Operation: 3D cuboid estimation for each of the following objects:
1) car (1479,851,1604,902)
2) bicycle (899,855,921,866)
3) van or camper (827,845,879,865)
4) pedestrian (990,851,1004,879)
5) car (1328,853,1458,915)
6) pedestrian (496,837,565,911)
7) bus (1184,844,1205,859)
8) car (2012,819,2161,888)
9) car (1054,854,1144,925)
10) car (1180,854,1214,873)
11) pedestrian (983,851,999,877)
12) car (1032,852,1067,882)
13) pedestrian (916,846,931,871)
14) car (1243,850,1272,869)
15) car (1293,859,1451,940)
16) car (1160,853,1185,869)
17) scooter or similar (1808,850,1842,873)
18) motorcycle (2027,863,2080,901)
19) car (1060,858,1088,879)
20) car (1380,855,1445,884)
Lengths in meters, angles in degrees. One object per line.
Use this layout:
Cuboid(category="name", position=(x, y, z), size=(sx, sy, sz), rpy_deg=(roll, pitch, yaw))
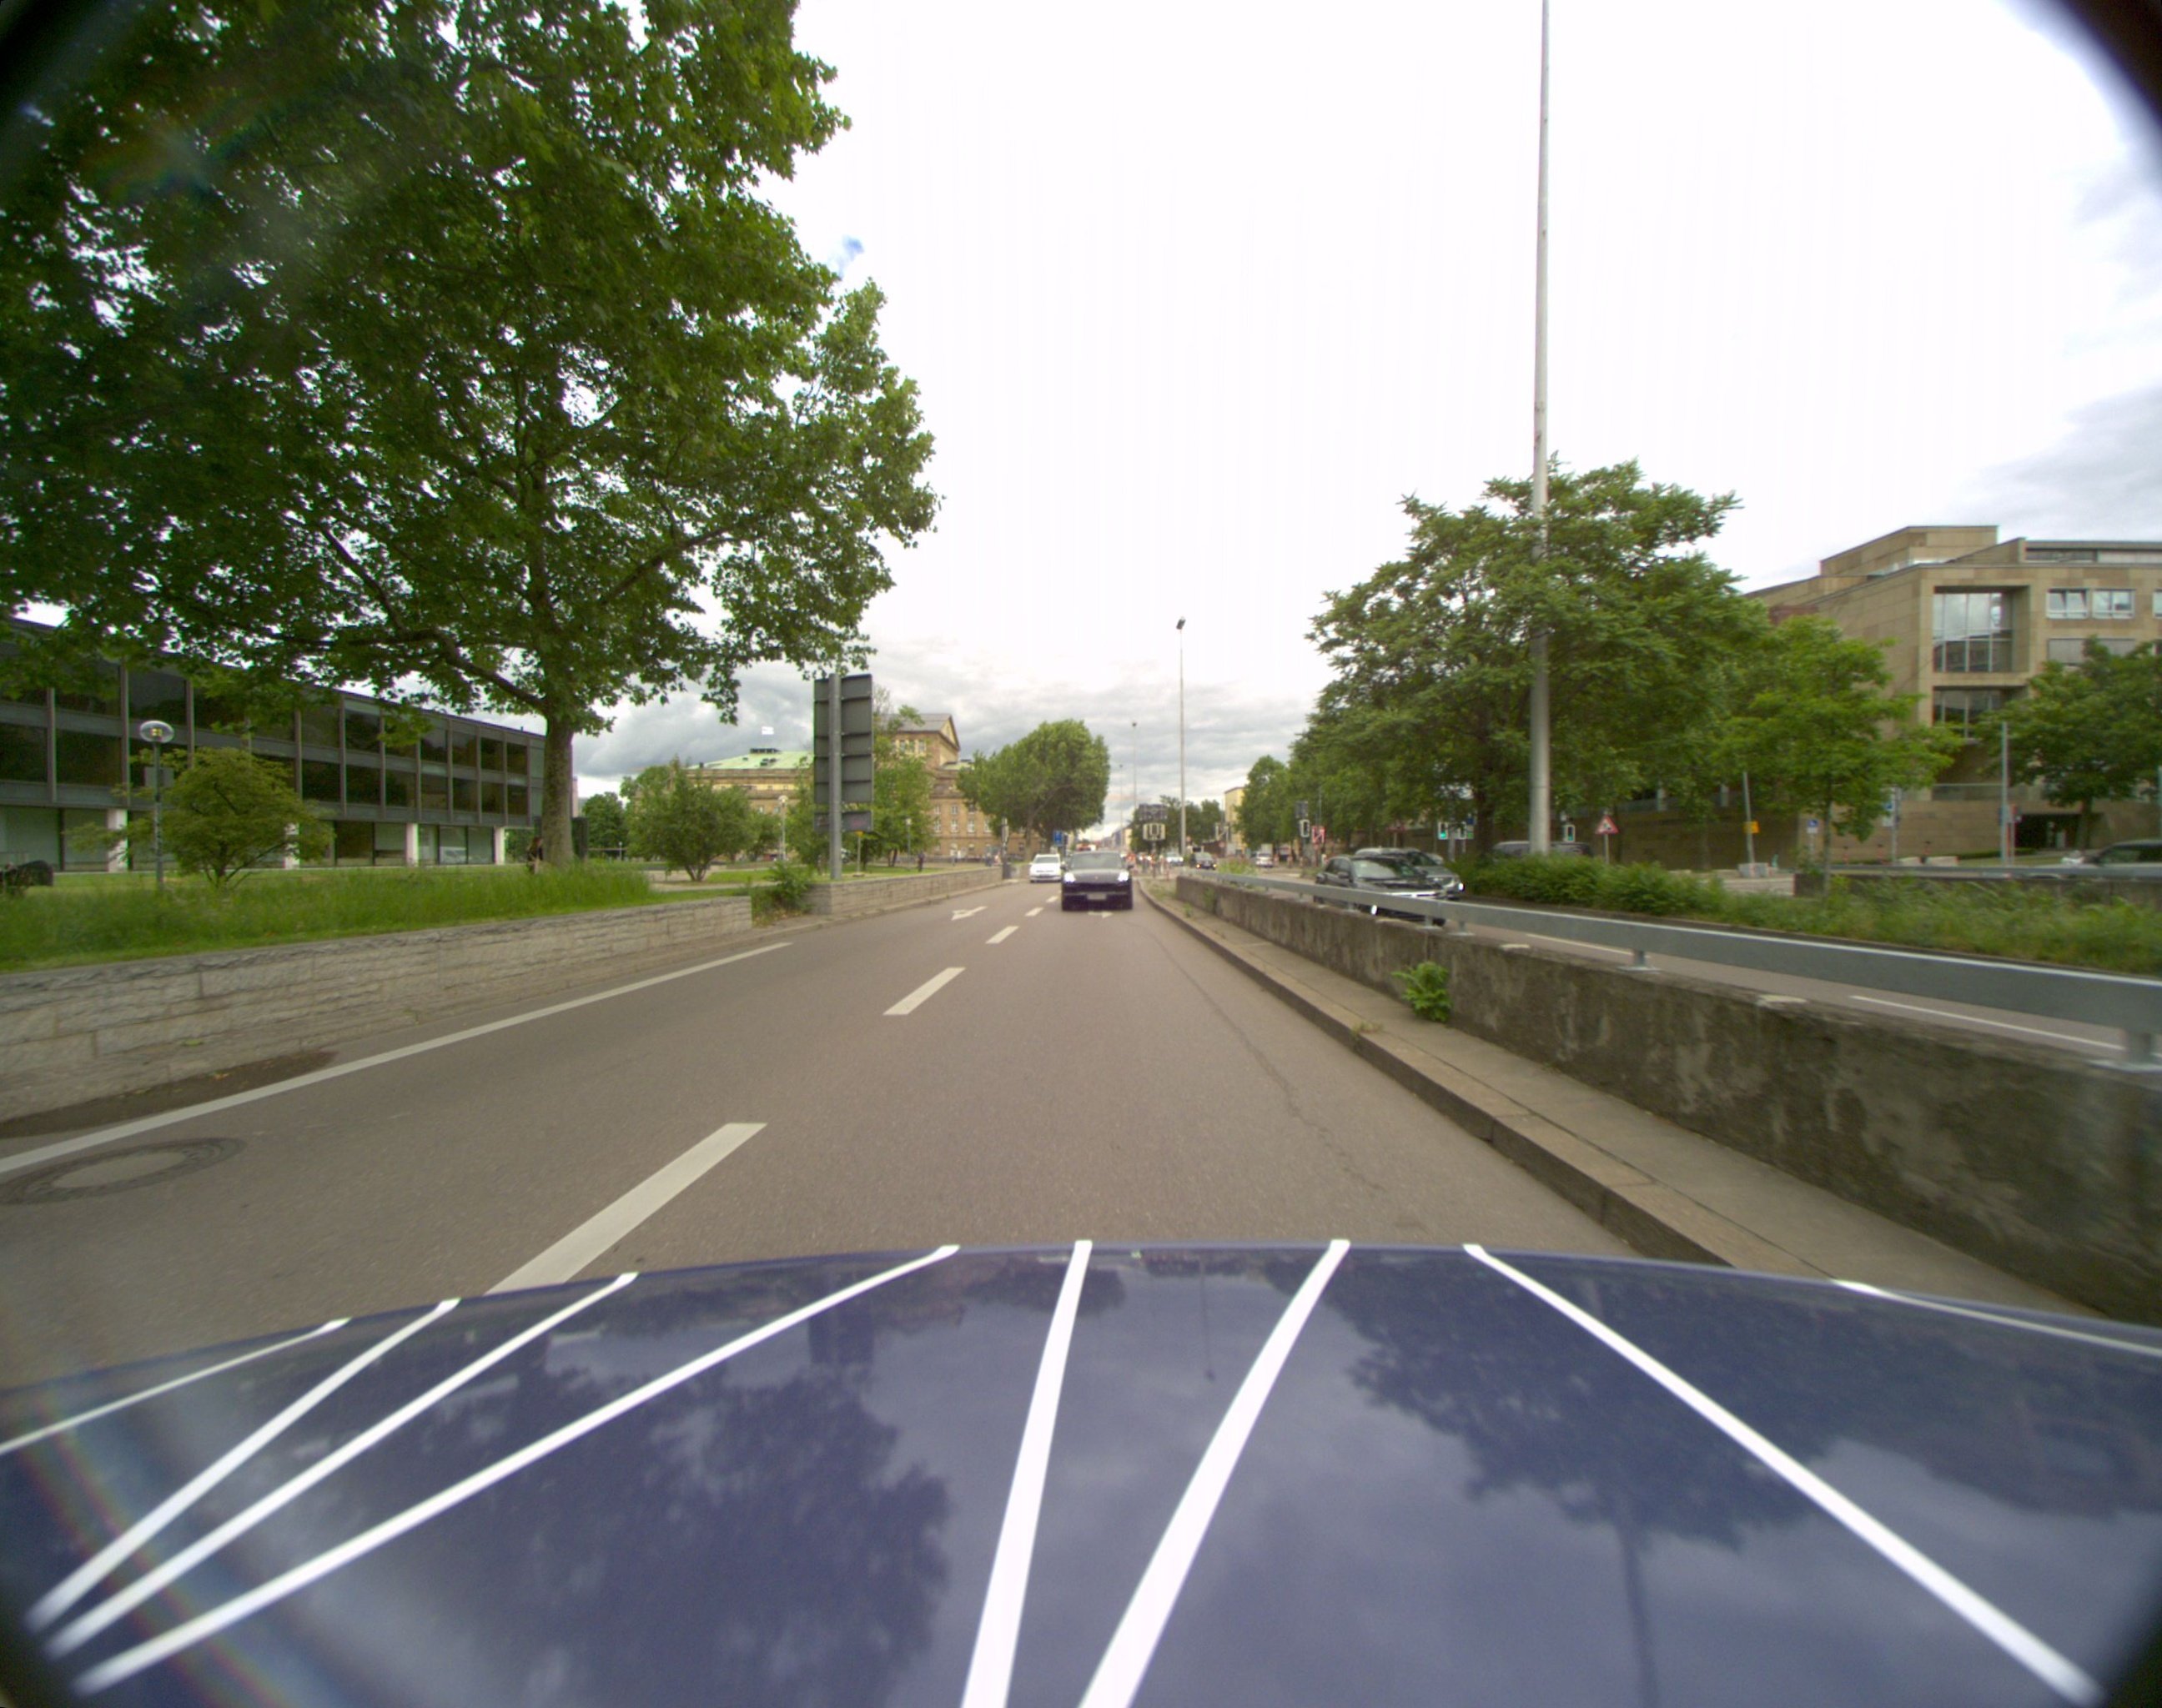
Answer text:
Cuboid(category="car", position=(16.592, 0.754, 27.670), size=(1.861, 1.707, 4.445), rpy_deg=(0, 0, 0))
Cuboid(category="bicycle", position=(-18.006, 0.672, 79.902), size=(2.197, 1.135, 0.686), rpy_deg=(0, 0, 1))
Cuboid(category="van or camper", position=(-28.523, 0.100, 95.311), size=(5.711, 2.307, 2.320), rpy_deg=(-2, 2, 0))
Cuboid(category="pedestrian", position=(-5.056, 0.640, 45.904), size=(0.699, 1.646, 0.684), rpy_deg=(-3, 1, 0))
Cuboid(category="car", position=(9.283, 0.811, 23.098), size=(1.998, 1.607, 4.737), rpy_deg=(-1, 1, 0))
Cuboid(category="pedestrian", position=(-13.537, 0.476, 18.721), size=(0.898, 1.722, 0.969), rpy_deg=(-3, 1, 1))
Cuboid(category="bus", position=(25.269, -0.528, 169.970), size=(2.920, 3.285, 10.448), rpy_deg=(0, 0, -1))
Cuboid(category="car", position=(27.546, 0.002, 19.448), size=(1.862, 1.707, 4.389), rpy_deg=(0, 0, -6))
Cuboid(category="car", position=(0.364, 0.884, 21.102), size=(2.062, 1.616, 4.600), rpy_deg=(4, 0, -3))
Cuboid(category="car", position=(9.498, 0.730, 62.582), size=(1.999, 1.474, 4.809), rpy_deg=(-1, 0, -1))
Cuboid(category="pedestrian", position=(-5.616, 0.629, 47.526), size=(0.683, 1.553, 0.909), rpy_deg=(-1, 0, 18))
Cuboid(category="car", position=(-1.776, 0.726, 43.949), size=(1.695, 1.585, 4.000), rpy_deg=(-1, 1, 2))
Cuboid(category="pedestrian", position=(-10.583, 0.304, 51.045), size=(0.803, 1.617, 0.626), rpy_deg=(0, 0, 8))
Cuboid(category="car", position=(17.403, 0.526, 75.205), size=(1.760, 1.647, 3.999), rpy_deg=(-3, 1, -1))
Cuboid(category="car", position=(6.434, 0.926, 17.331), size=(1.768, 1.507, 4.150), rpy_deg=(-2, 1, -3))
Cuboid(category="car", position=(9.452, 0.712, 78.821), size=(1.998, 1.636, 4.000), rpy_deg=(-2, 0, 0))
Cuboid(category="scooter or similar", position=(42.569, 0.428, 43.468), size=(1.418, 1.333, 0.538), rpy_deg=(0, 1, 0))
Cuboid(category="motorcycle", position=(33.602, 0.955, 26.250), size=(1.892, 1.227, 0.657), rpy_deg=(0, 3, -24))
Cuboid(category="car", position=(-0.619, 1.193, 63.551), size=(2.062, 1.616, 4.600), rpy_deg=(-2, 0, -3))
Cuboid(category="car", position=(18.762, 0.844, 43.216), size=(1.760, 1.453, 3.998), rpy_deg=(-3, 1, -3))
